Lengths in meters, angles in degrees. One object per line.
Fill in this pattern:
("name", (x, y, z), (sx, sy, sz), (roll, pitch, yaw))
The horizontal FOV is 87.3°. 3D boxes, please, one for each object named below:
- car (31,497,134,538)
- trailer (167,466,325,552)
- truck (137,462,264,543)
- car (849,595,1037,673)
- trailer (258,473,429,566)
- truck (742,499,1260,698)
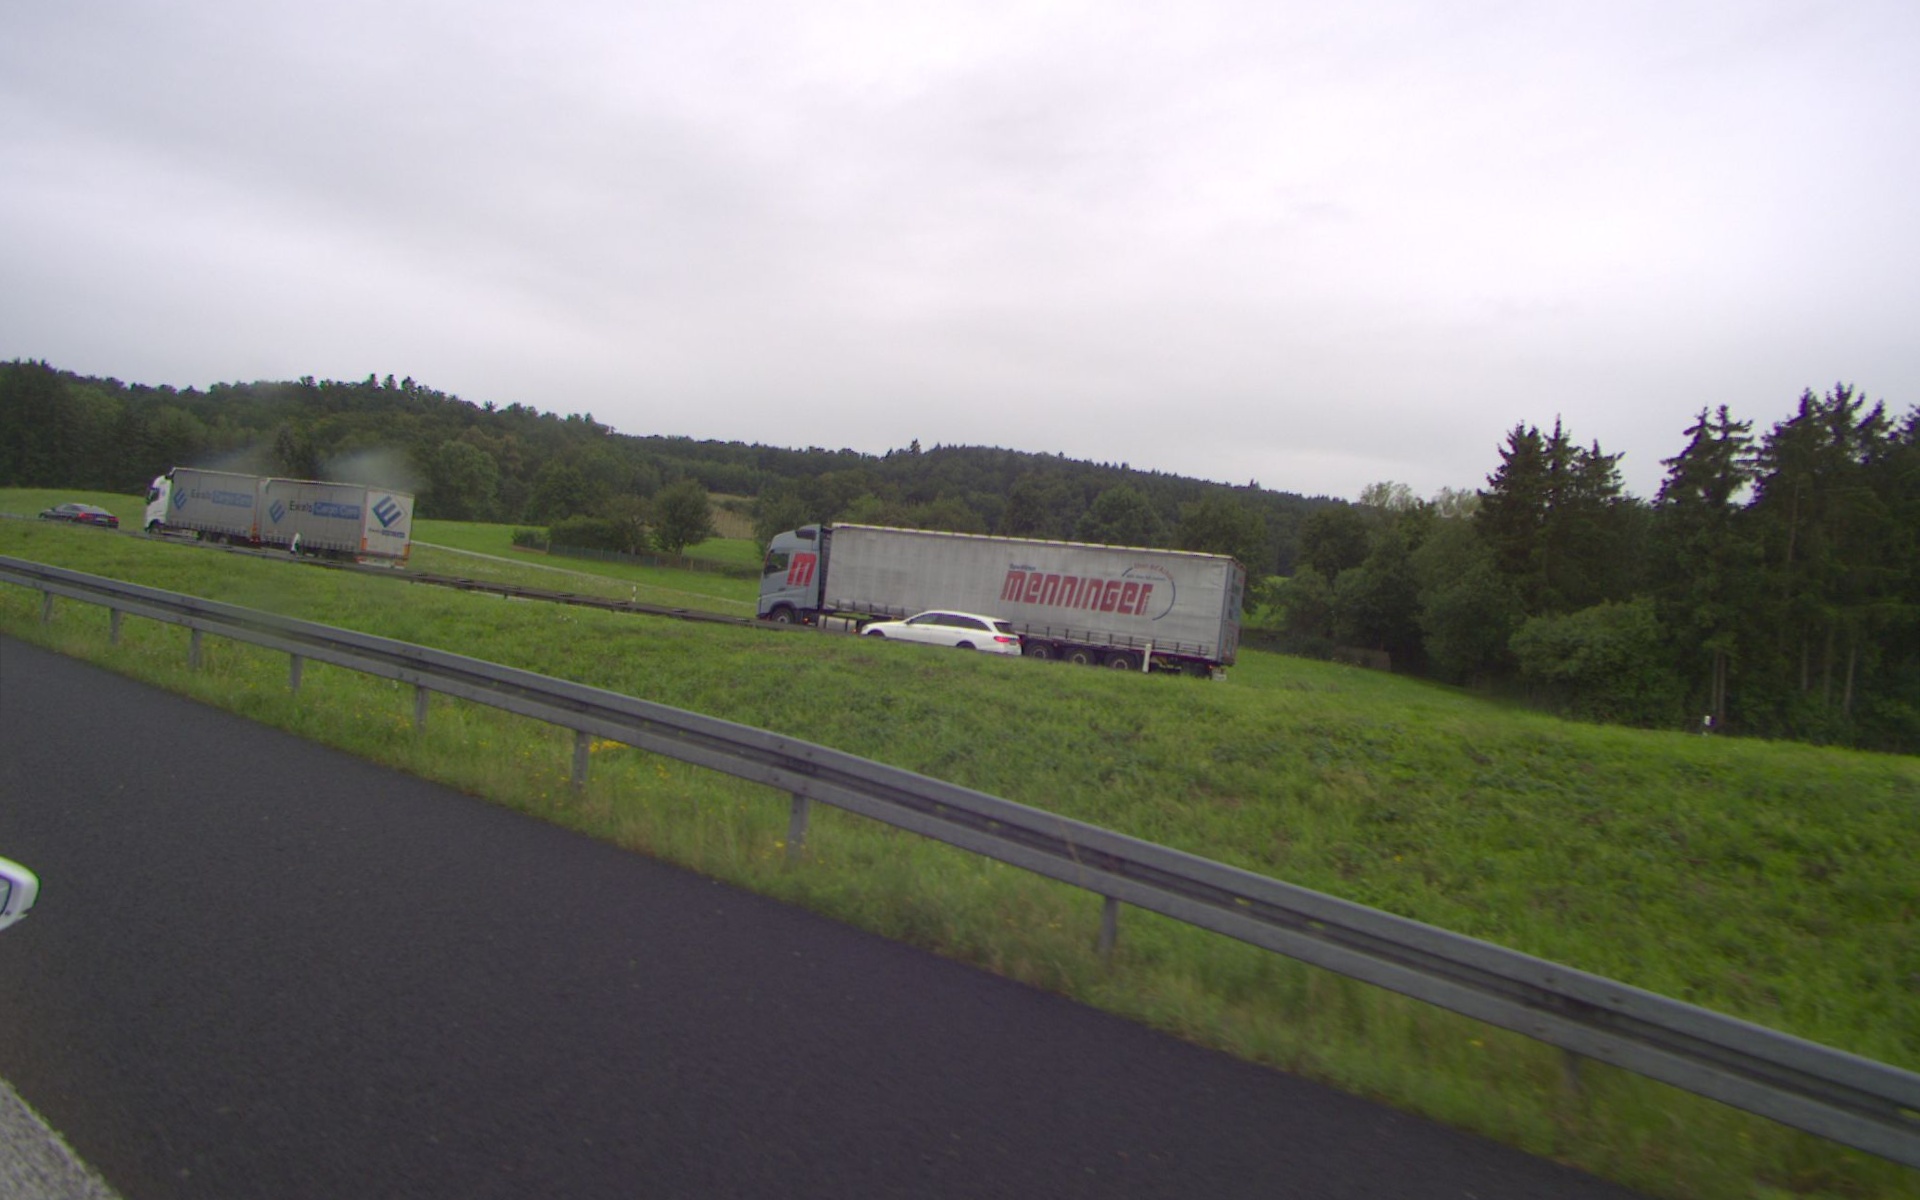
("car", (-44.219, -4.154, 50.668), (5.224, 1.393, 1.992), (7, -1, 26))
("trailer", (-38.232, -4.909, 53.829), (8.269, 3.567, 2.948), (7, -2, 26))
("truck", (-41.921, -5.382, 55.524), (5.822, 3.567, 2.948), (7, -2, 26))
("car", (-0.515, 0.992, 29.344), (4.988, 1.636, 1.999), (7, -1, 25))
("trailer", (-30.900, -4.041, 50.403), (7.939, 3.567, 3.089), (7, -2, 25))
("truck", (0.902, -0.252, 33.353), (16.583, 4.595, 3.831), (7, -1, 25))
